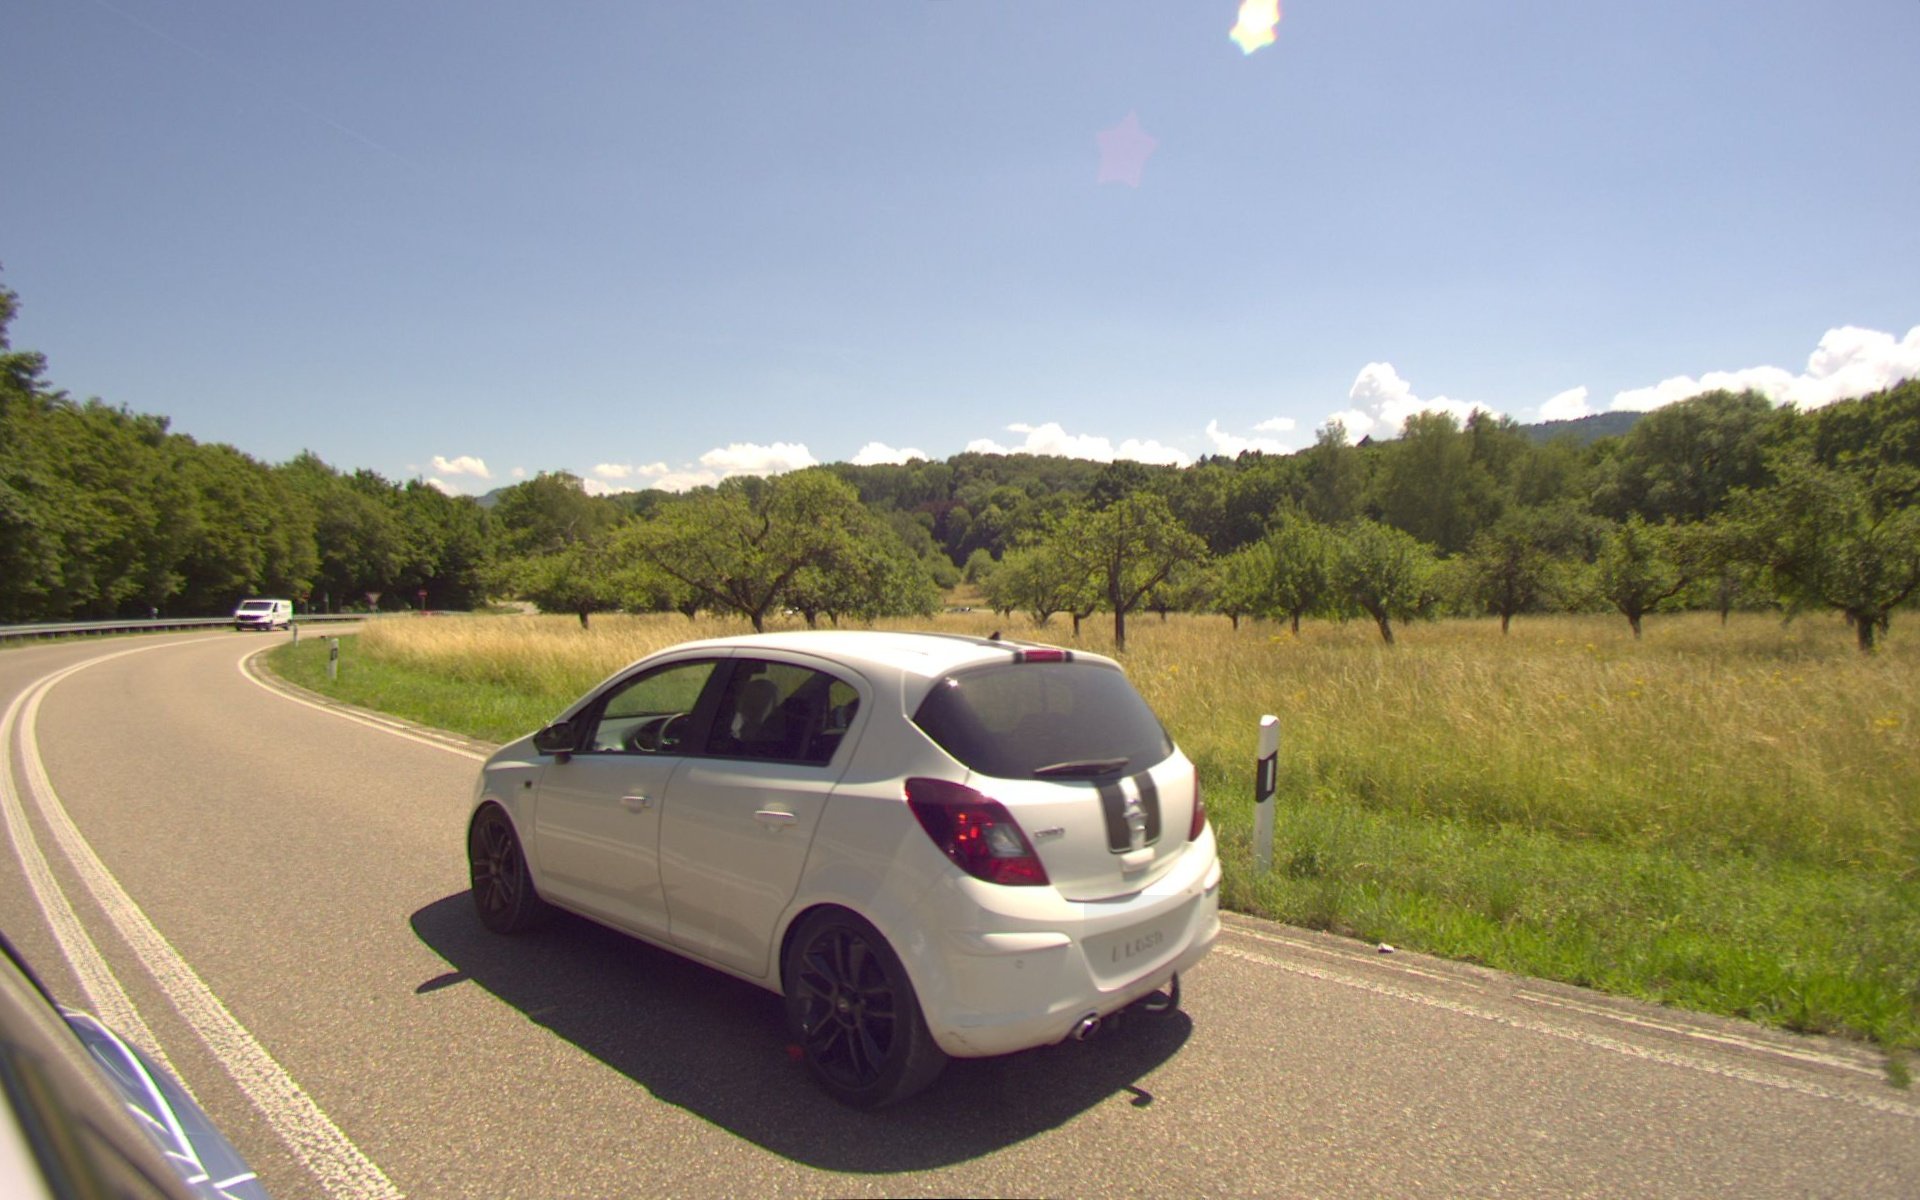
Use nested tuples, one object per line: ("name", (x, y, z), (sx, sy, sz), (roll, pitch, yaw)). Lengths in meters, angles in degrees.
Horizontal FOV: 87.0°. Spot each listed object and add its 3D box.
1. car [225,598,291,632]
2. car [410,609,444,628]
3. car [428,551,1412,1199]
("car", (-45.194, 0.954, 65.252), (2.187, 2.048, 5.444), (-1, 0, -20))
("car", (-46.712, 1.601, 88.741), (1.797, 1.469, 4.414), (4, -1, -18))
("car", (-0.532, 0.728, 4.349), (4.172, 1.518, 1.802), (-2, -4, 43))
